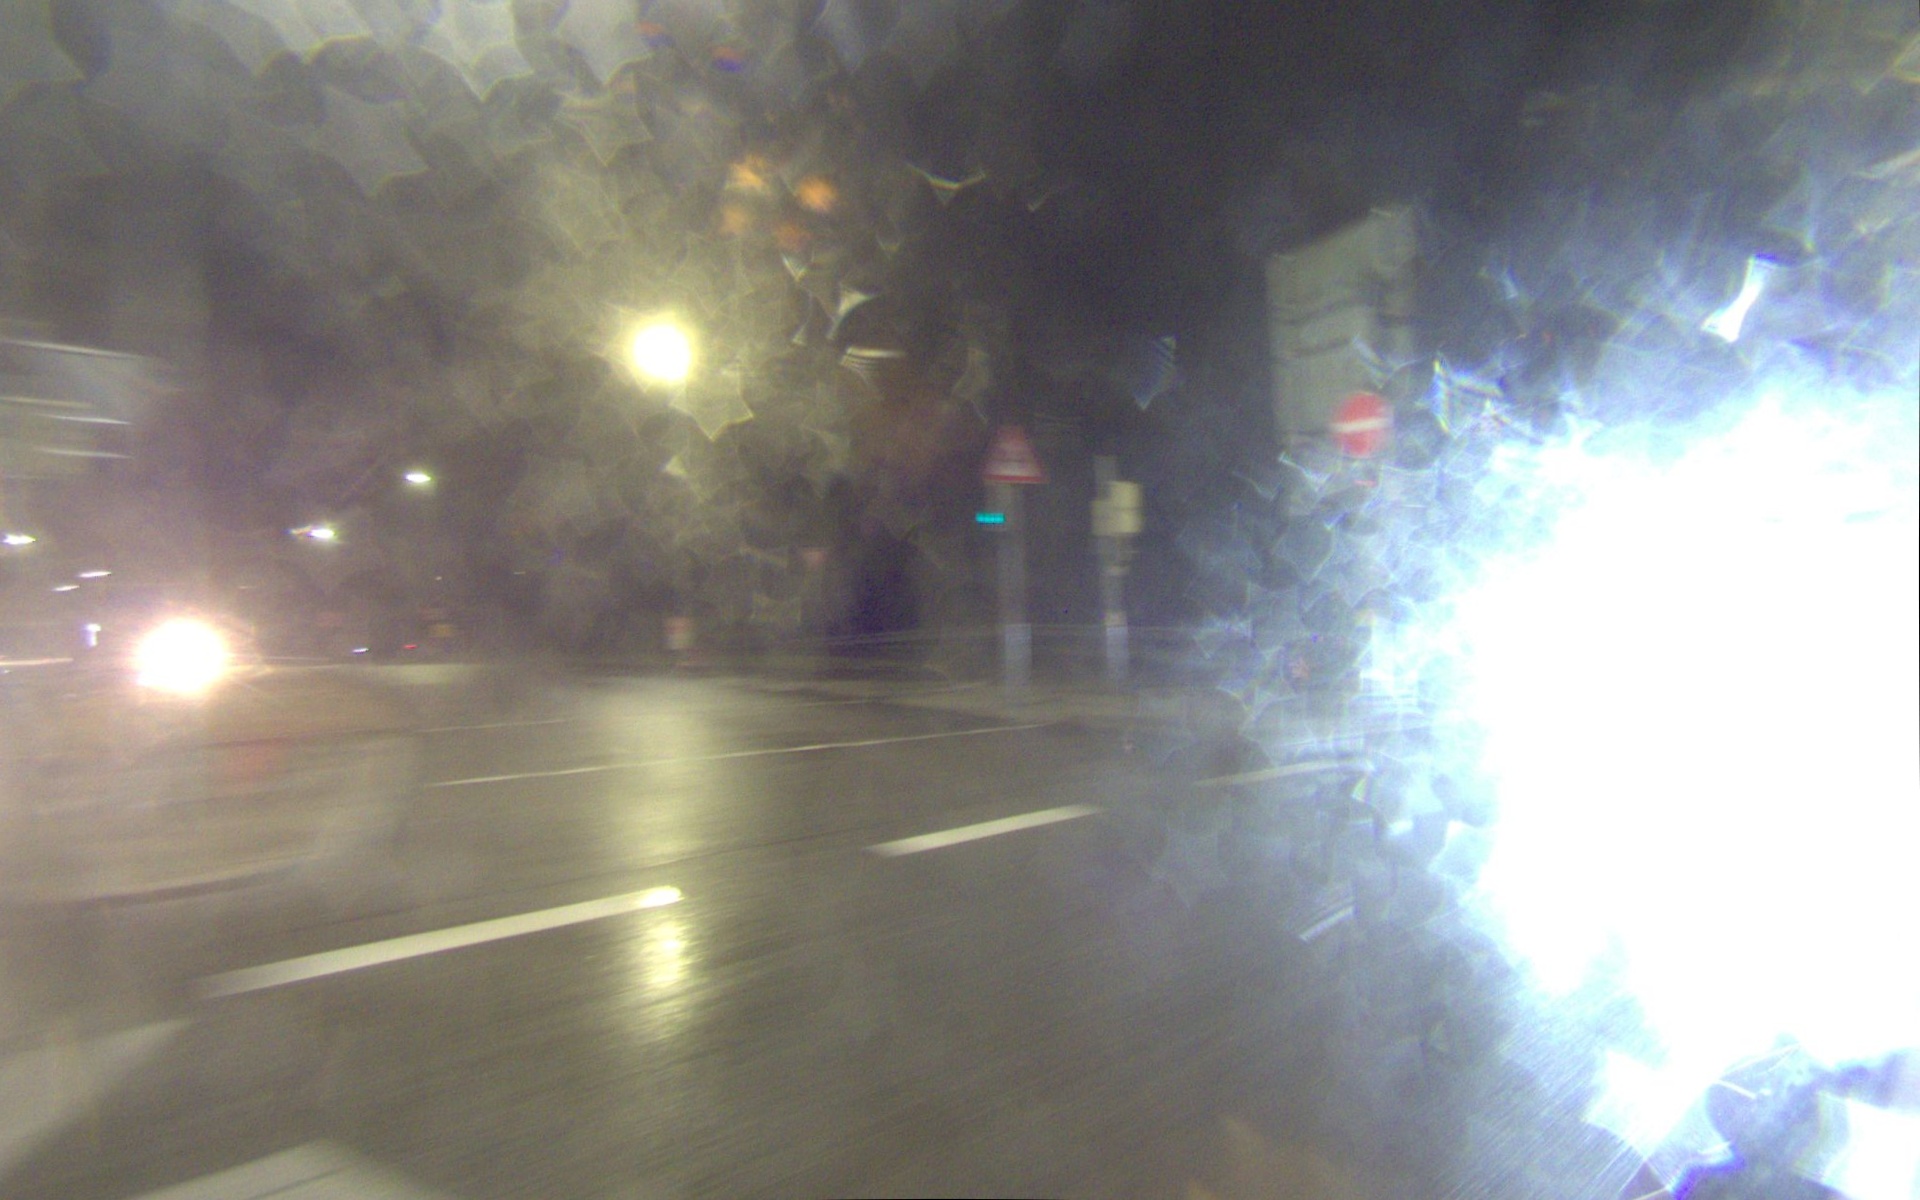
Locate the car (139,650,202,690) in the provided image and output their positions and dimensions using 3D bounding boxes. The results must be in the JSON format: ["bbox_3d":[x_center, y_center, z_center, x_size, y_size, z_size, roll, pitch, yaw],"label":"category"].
[{"bbox_3d":[-31.932,2.796,41.027,1.713,1.363,3.911,1,-1,-34],"label":"car"}]

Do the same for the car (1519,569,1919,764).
[{"bbox_3d":[7.546,0.519,9.733,4.467,1.525,1.680,0,-1,-29],"label":"car"}]
